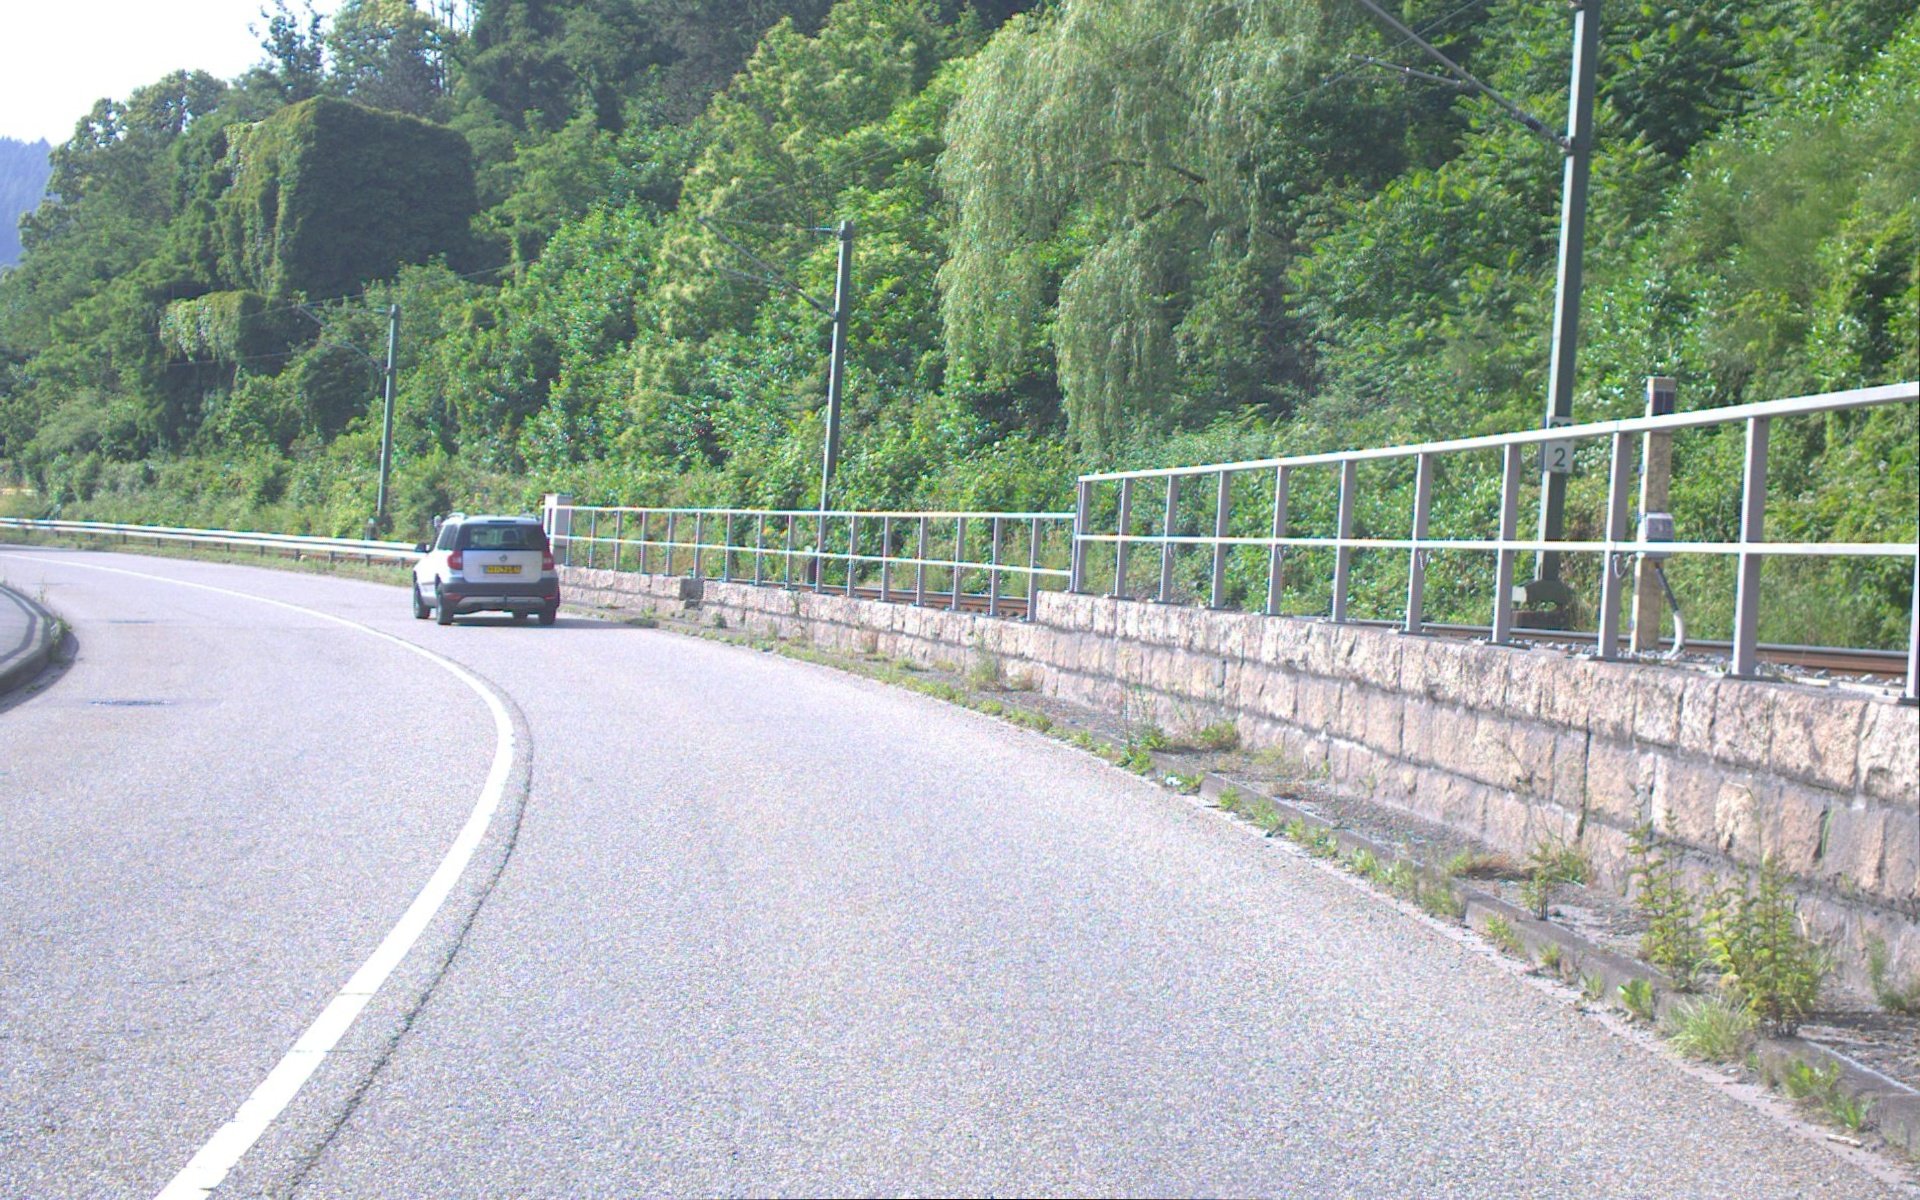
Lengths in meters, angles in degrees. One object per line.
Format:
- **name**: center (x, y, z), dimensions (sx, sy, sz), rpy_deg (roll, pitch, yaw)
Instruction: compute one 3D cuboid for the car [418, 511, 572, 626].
- **car**: center (-7.134, -0.510, 52.422), dimensions (1.872, 1.650, 4.001), rpy_deg (1, 1, -14)
